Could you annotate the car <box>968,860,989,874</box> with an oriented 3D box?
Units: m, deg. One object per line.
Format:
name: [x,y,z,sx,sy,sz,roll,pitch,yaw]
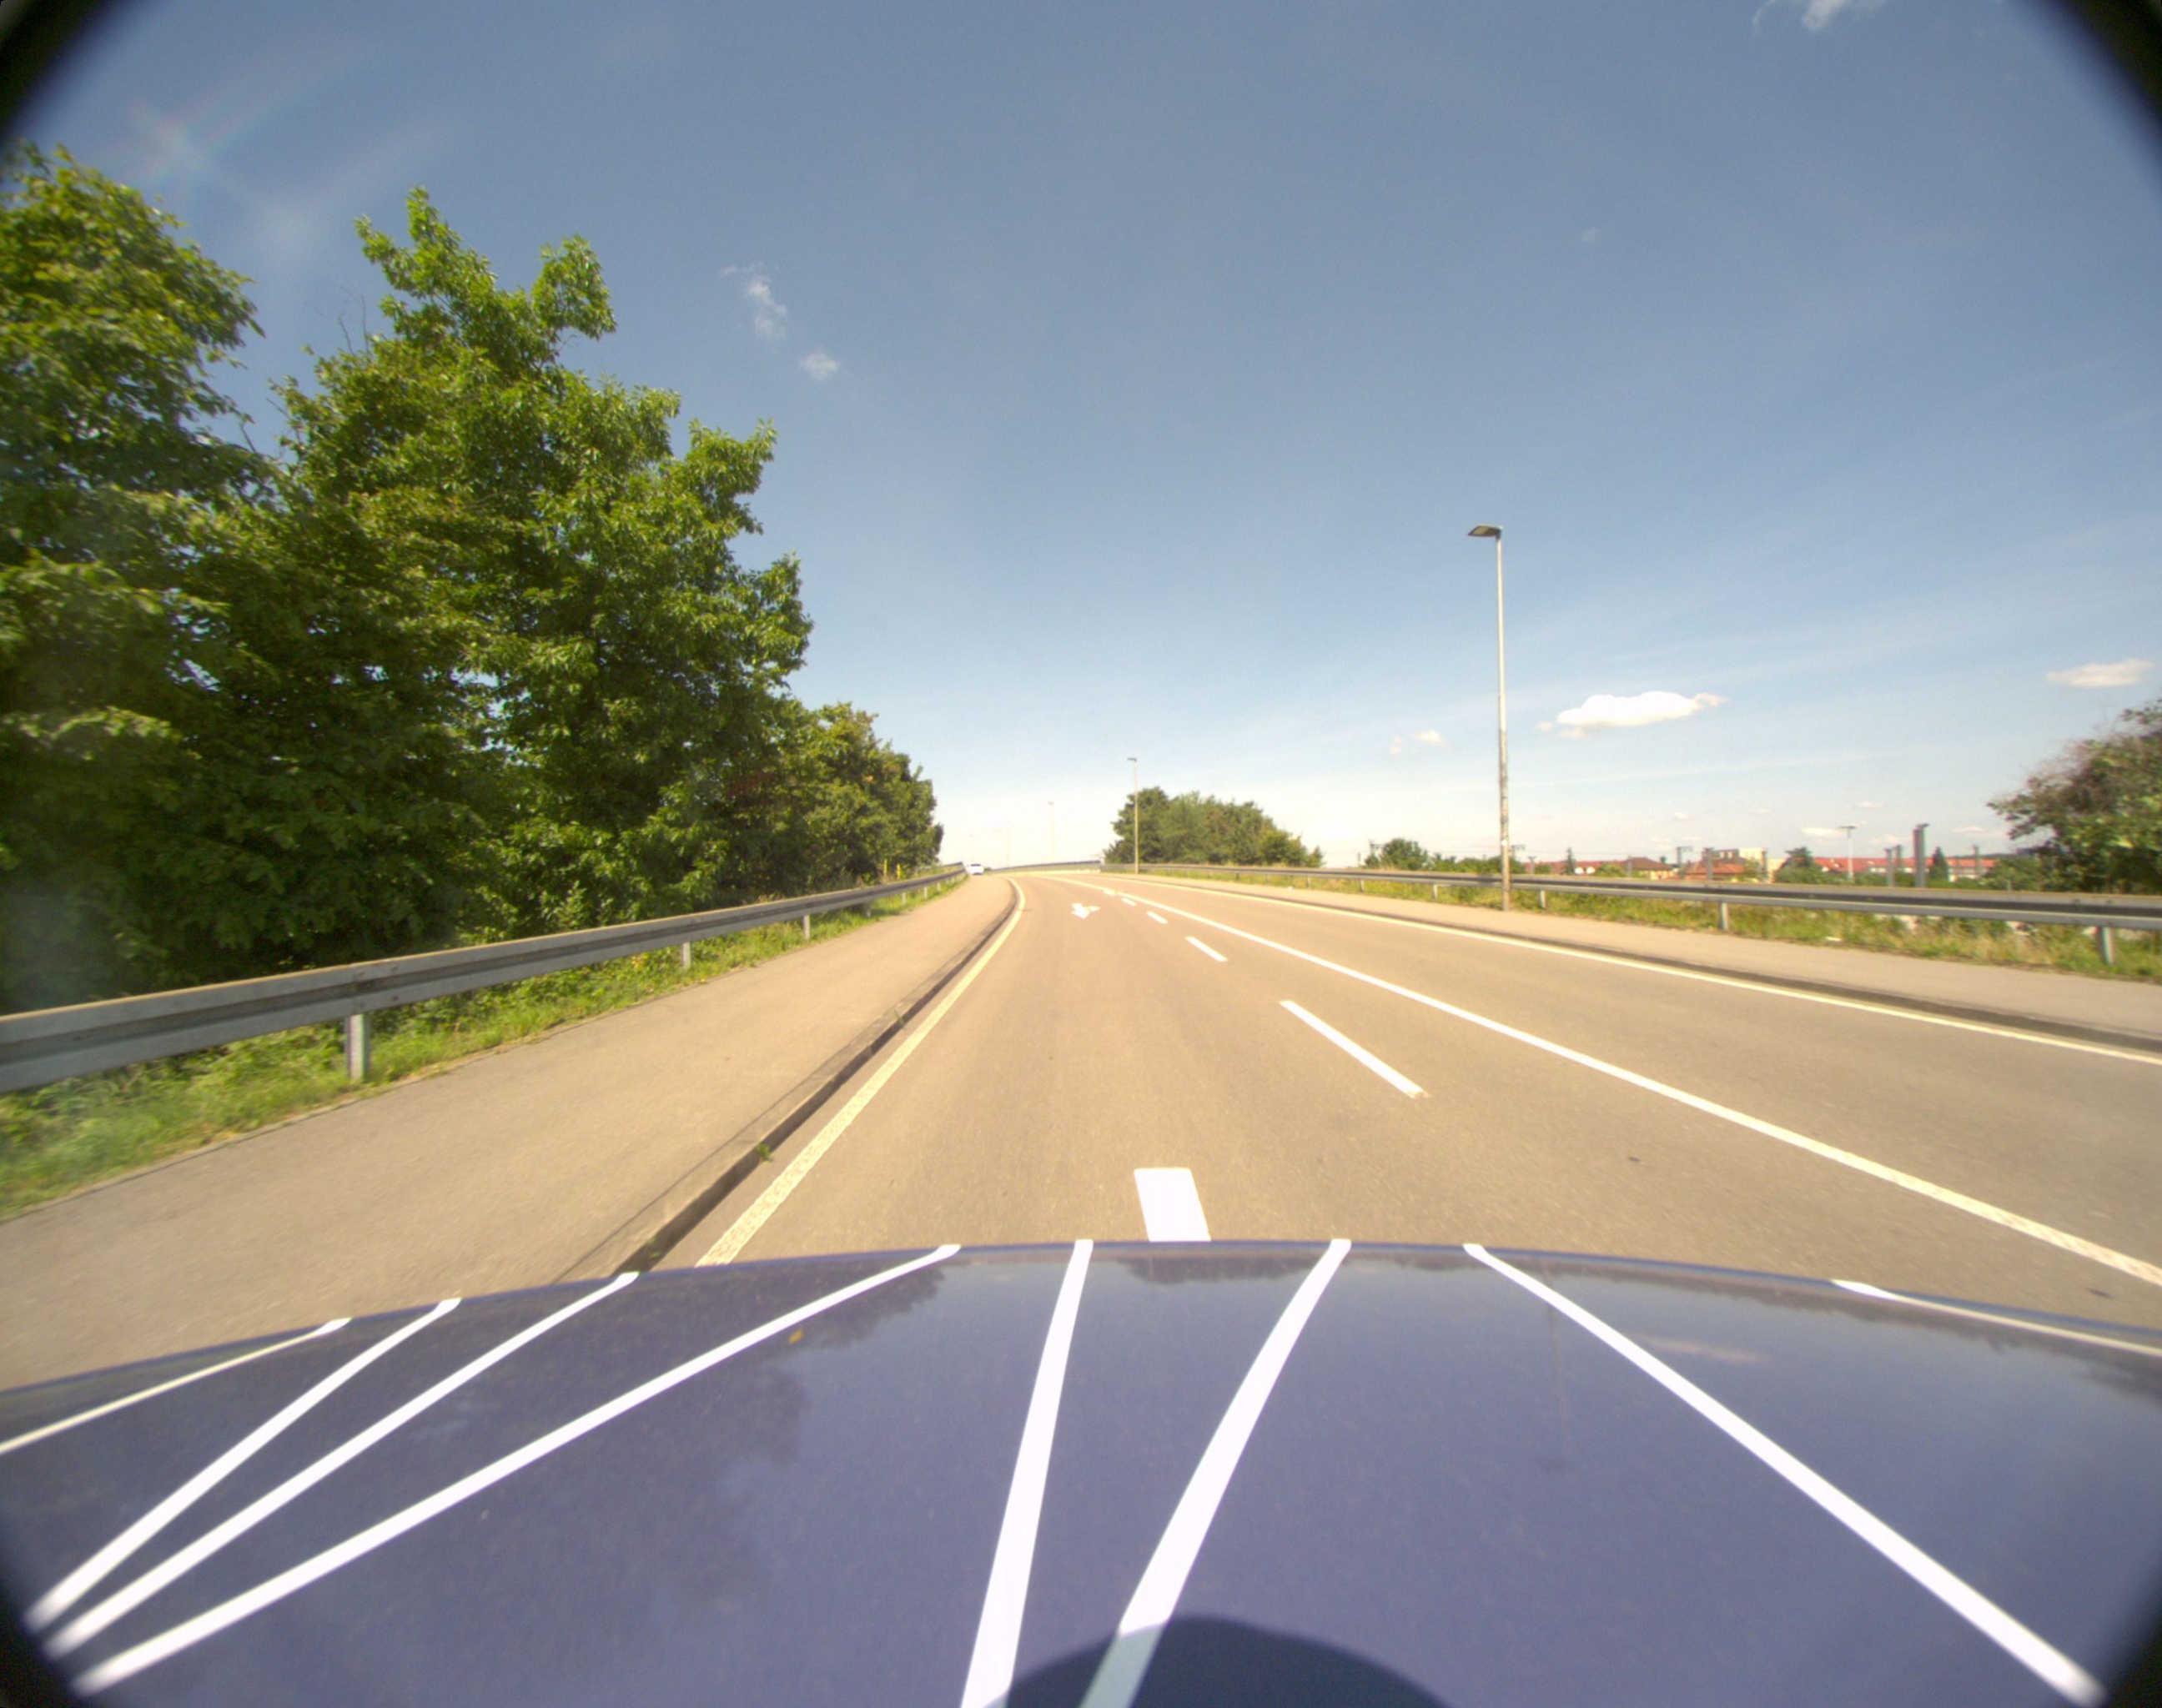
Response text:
car: [-13.459,1.715,99.496,2.095,1.750,4.277,-3,-1,-16]
